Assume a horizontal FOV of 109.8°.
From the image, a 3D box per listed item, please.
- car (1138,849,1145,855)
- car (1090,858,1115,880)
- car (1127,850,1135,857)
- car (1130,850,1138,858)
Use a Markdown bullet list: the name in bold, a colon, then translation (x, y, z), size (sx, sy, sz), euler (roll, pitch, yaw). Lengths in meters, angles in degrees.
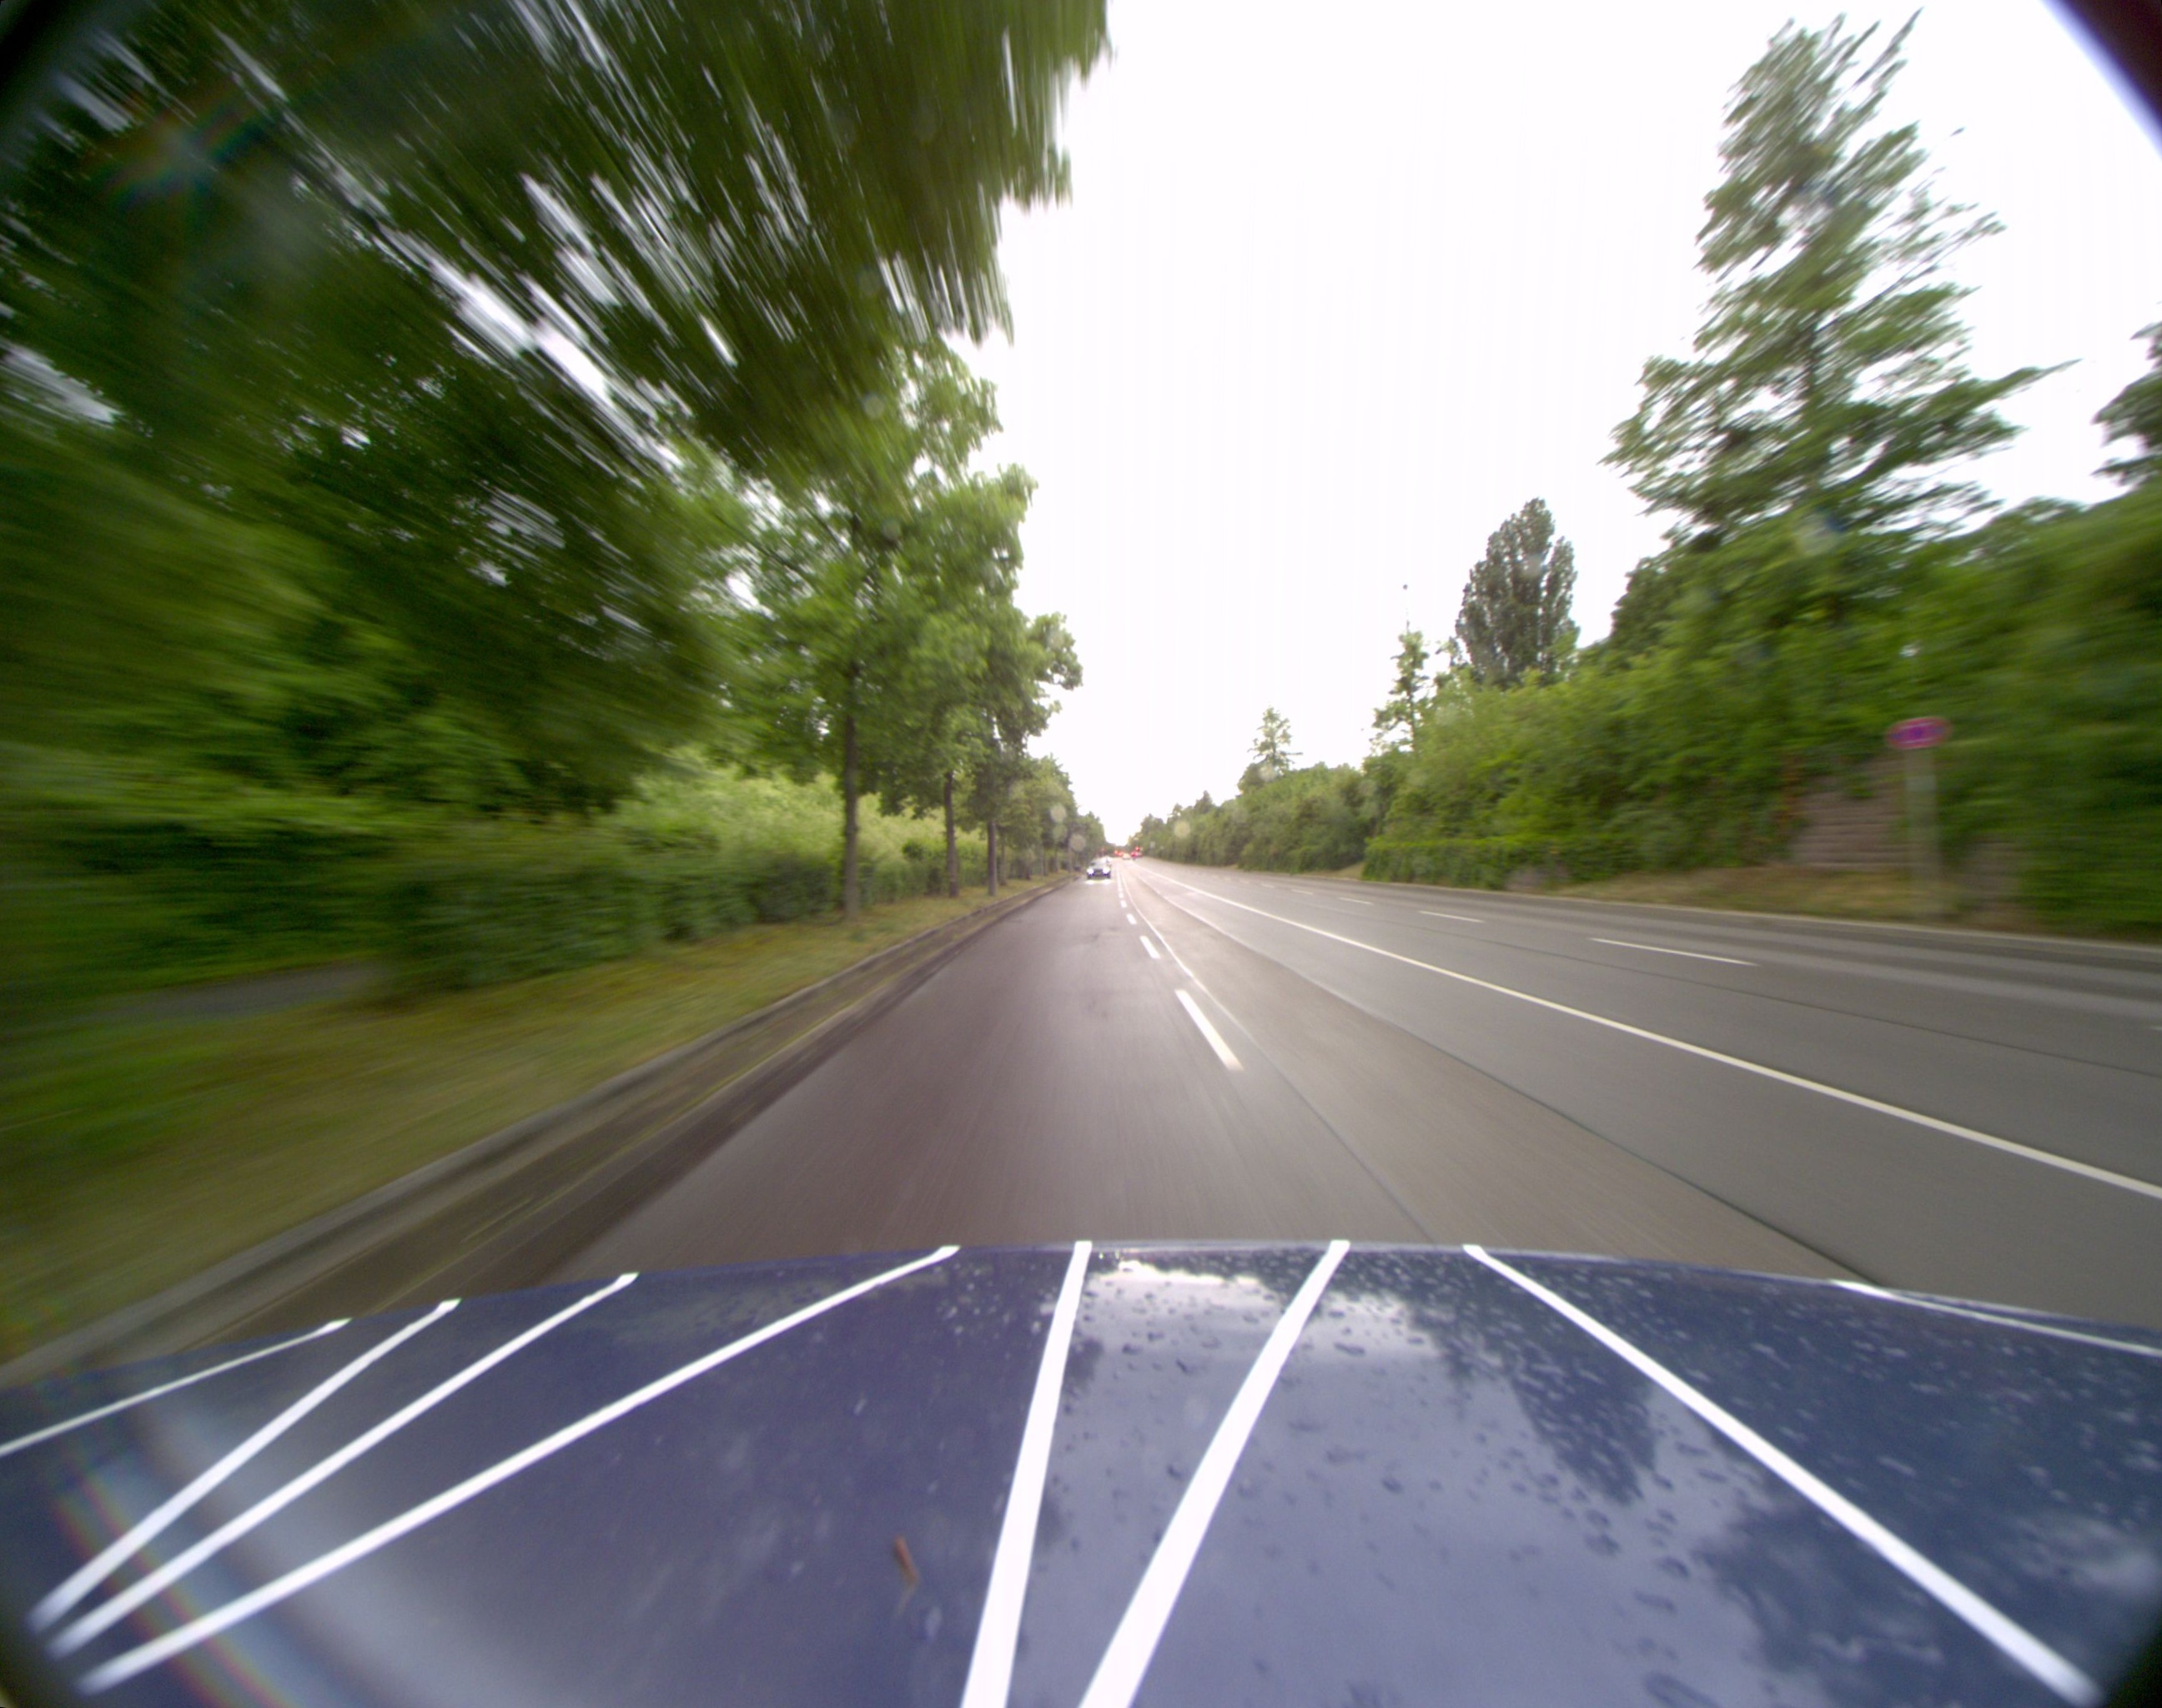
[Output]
- **car**: translation (18.153, -0.632, 227.874), size (1.930, 1.805, 4.000), euler (-2, 1, 1)
- **car**: translation (1.696, 1.129, 59.610), size (1.824, 1.547, 4.000), euler (-2, 1, 1)
- **car**: translation (13.442, -0.145, 204.250), size (1.930, 1.805, 4.000), euler (-2, 1, 1)
- **car**: translation (13.469, -0.016, 193.710), size (1.930, 1.805, 4.000), euler (-2, 1, 1)
